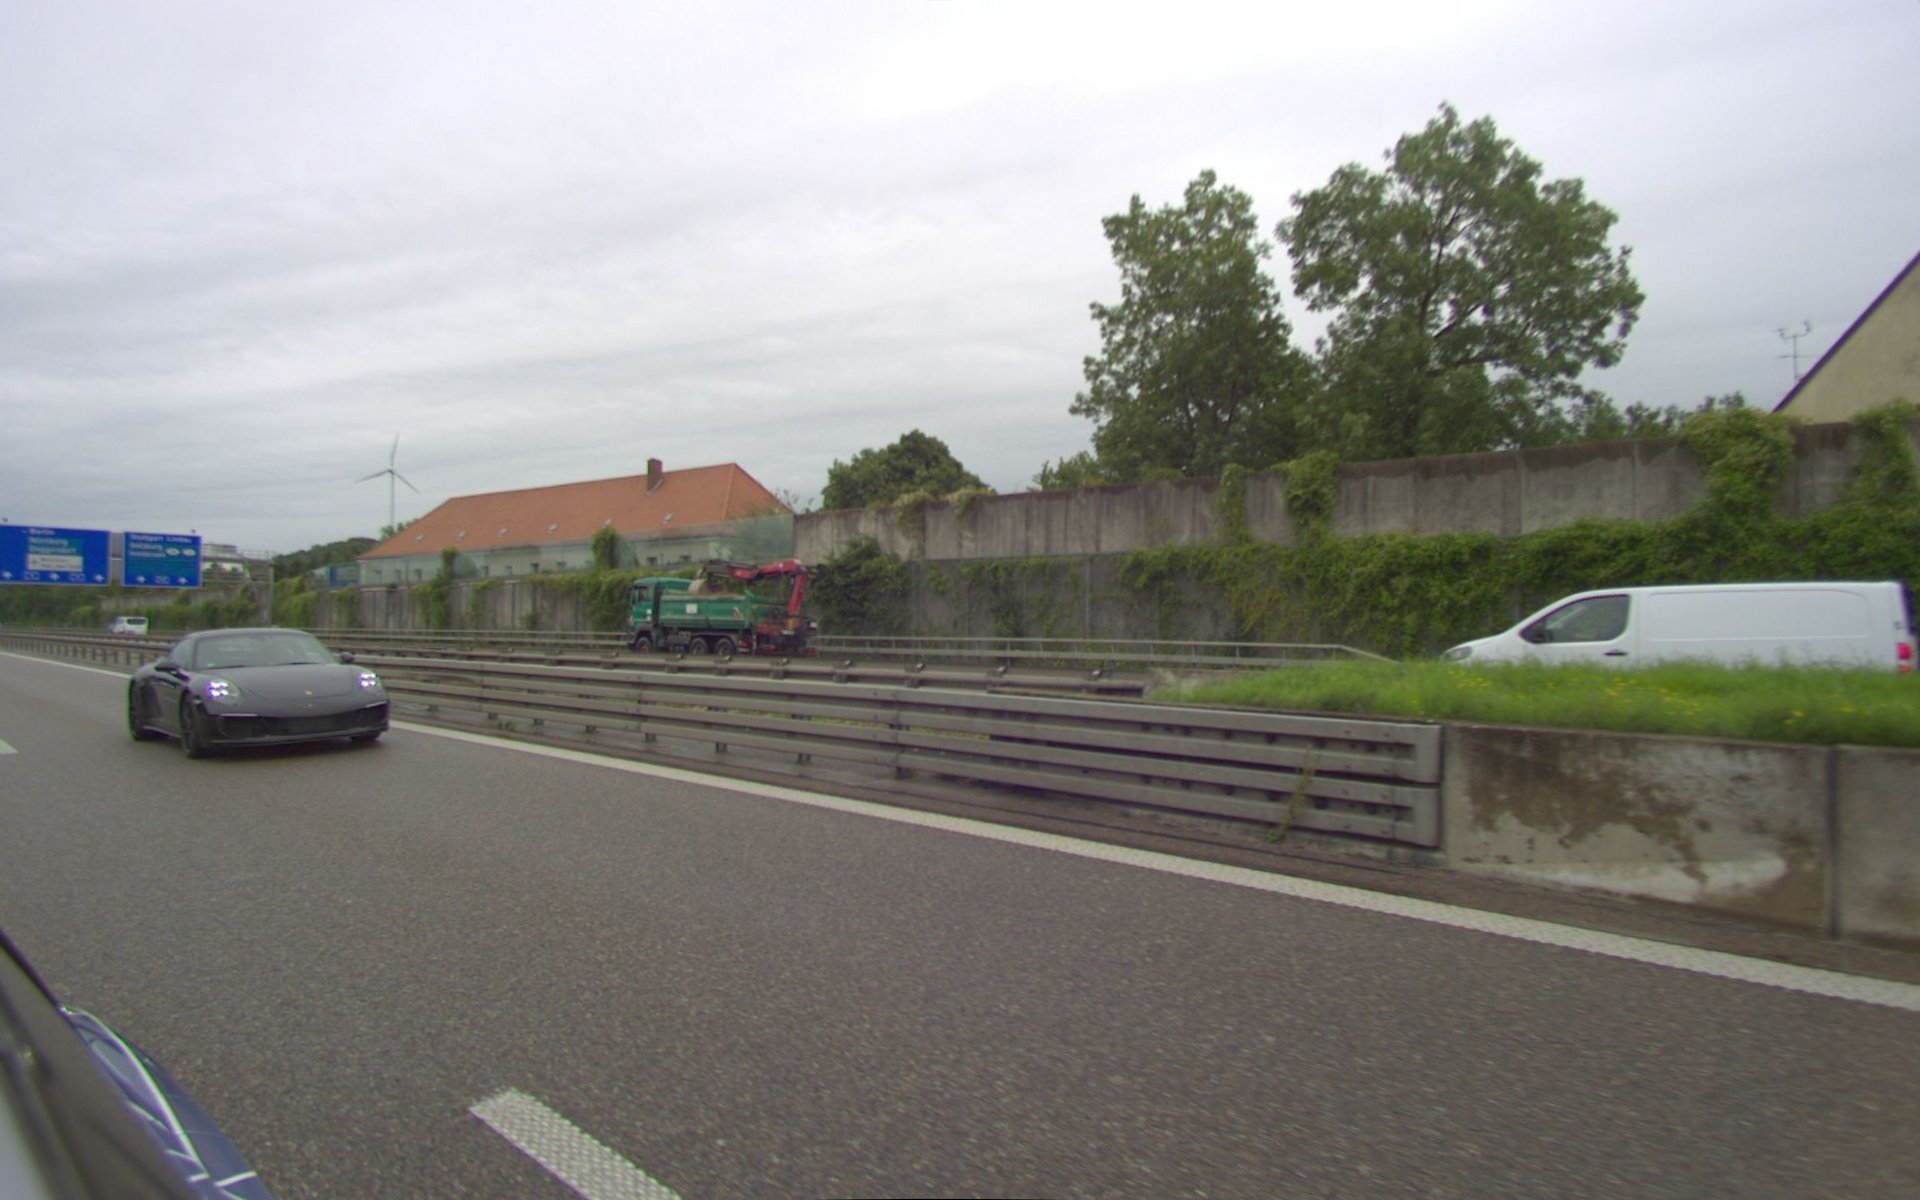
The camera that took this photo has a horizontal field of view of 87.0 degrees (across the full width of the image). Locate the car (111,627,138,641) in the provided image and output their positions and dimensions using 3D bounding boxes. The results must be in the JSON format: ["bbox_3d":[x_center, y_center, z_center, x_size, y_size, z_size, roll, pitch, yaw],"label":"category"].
[{"bbox_3d":[-99.740,4.034,120.831,4.522,1.564,1.934,-1,0,44],"label":"car"}]

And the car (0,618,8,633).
[{"bbox_3d":[-134.349,3.504,141.047,4.728,2.029,1.913,-1,0,40],"label":"car"}]

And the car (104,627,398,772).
[{"bbox_3d":[-8.392,0.996,11.770,4.921,1.281,1.634,-1,0,41],"label":"car"}]

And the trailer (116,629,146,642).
[{"bbox_3d":[-96.249,4.116,117.438,5.249,1.277,2.106,-1,0,44],"label":"trailer"}]

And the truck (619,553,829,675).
[{"bbox_3d":[-8.362,0.459,35.139,8.331,3.805,2.664,-1,0,40],"label":"truck"}]

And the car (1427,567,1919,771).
[{"bbox_3d":[8.695,0.719,12.213,5.191,2.029,2.059,-1,-1,41],"label":"car"}]

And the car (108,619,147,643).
[{"bbox_3d":[-75.503,2.799,91.783,4.954,2.029,1.973,-1,0,41],"label":"car"}]
